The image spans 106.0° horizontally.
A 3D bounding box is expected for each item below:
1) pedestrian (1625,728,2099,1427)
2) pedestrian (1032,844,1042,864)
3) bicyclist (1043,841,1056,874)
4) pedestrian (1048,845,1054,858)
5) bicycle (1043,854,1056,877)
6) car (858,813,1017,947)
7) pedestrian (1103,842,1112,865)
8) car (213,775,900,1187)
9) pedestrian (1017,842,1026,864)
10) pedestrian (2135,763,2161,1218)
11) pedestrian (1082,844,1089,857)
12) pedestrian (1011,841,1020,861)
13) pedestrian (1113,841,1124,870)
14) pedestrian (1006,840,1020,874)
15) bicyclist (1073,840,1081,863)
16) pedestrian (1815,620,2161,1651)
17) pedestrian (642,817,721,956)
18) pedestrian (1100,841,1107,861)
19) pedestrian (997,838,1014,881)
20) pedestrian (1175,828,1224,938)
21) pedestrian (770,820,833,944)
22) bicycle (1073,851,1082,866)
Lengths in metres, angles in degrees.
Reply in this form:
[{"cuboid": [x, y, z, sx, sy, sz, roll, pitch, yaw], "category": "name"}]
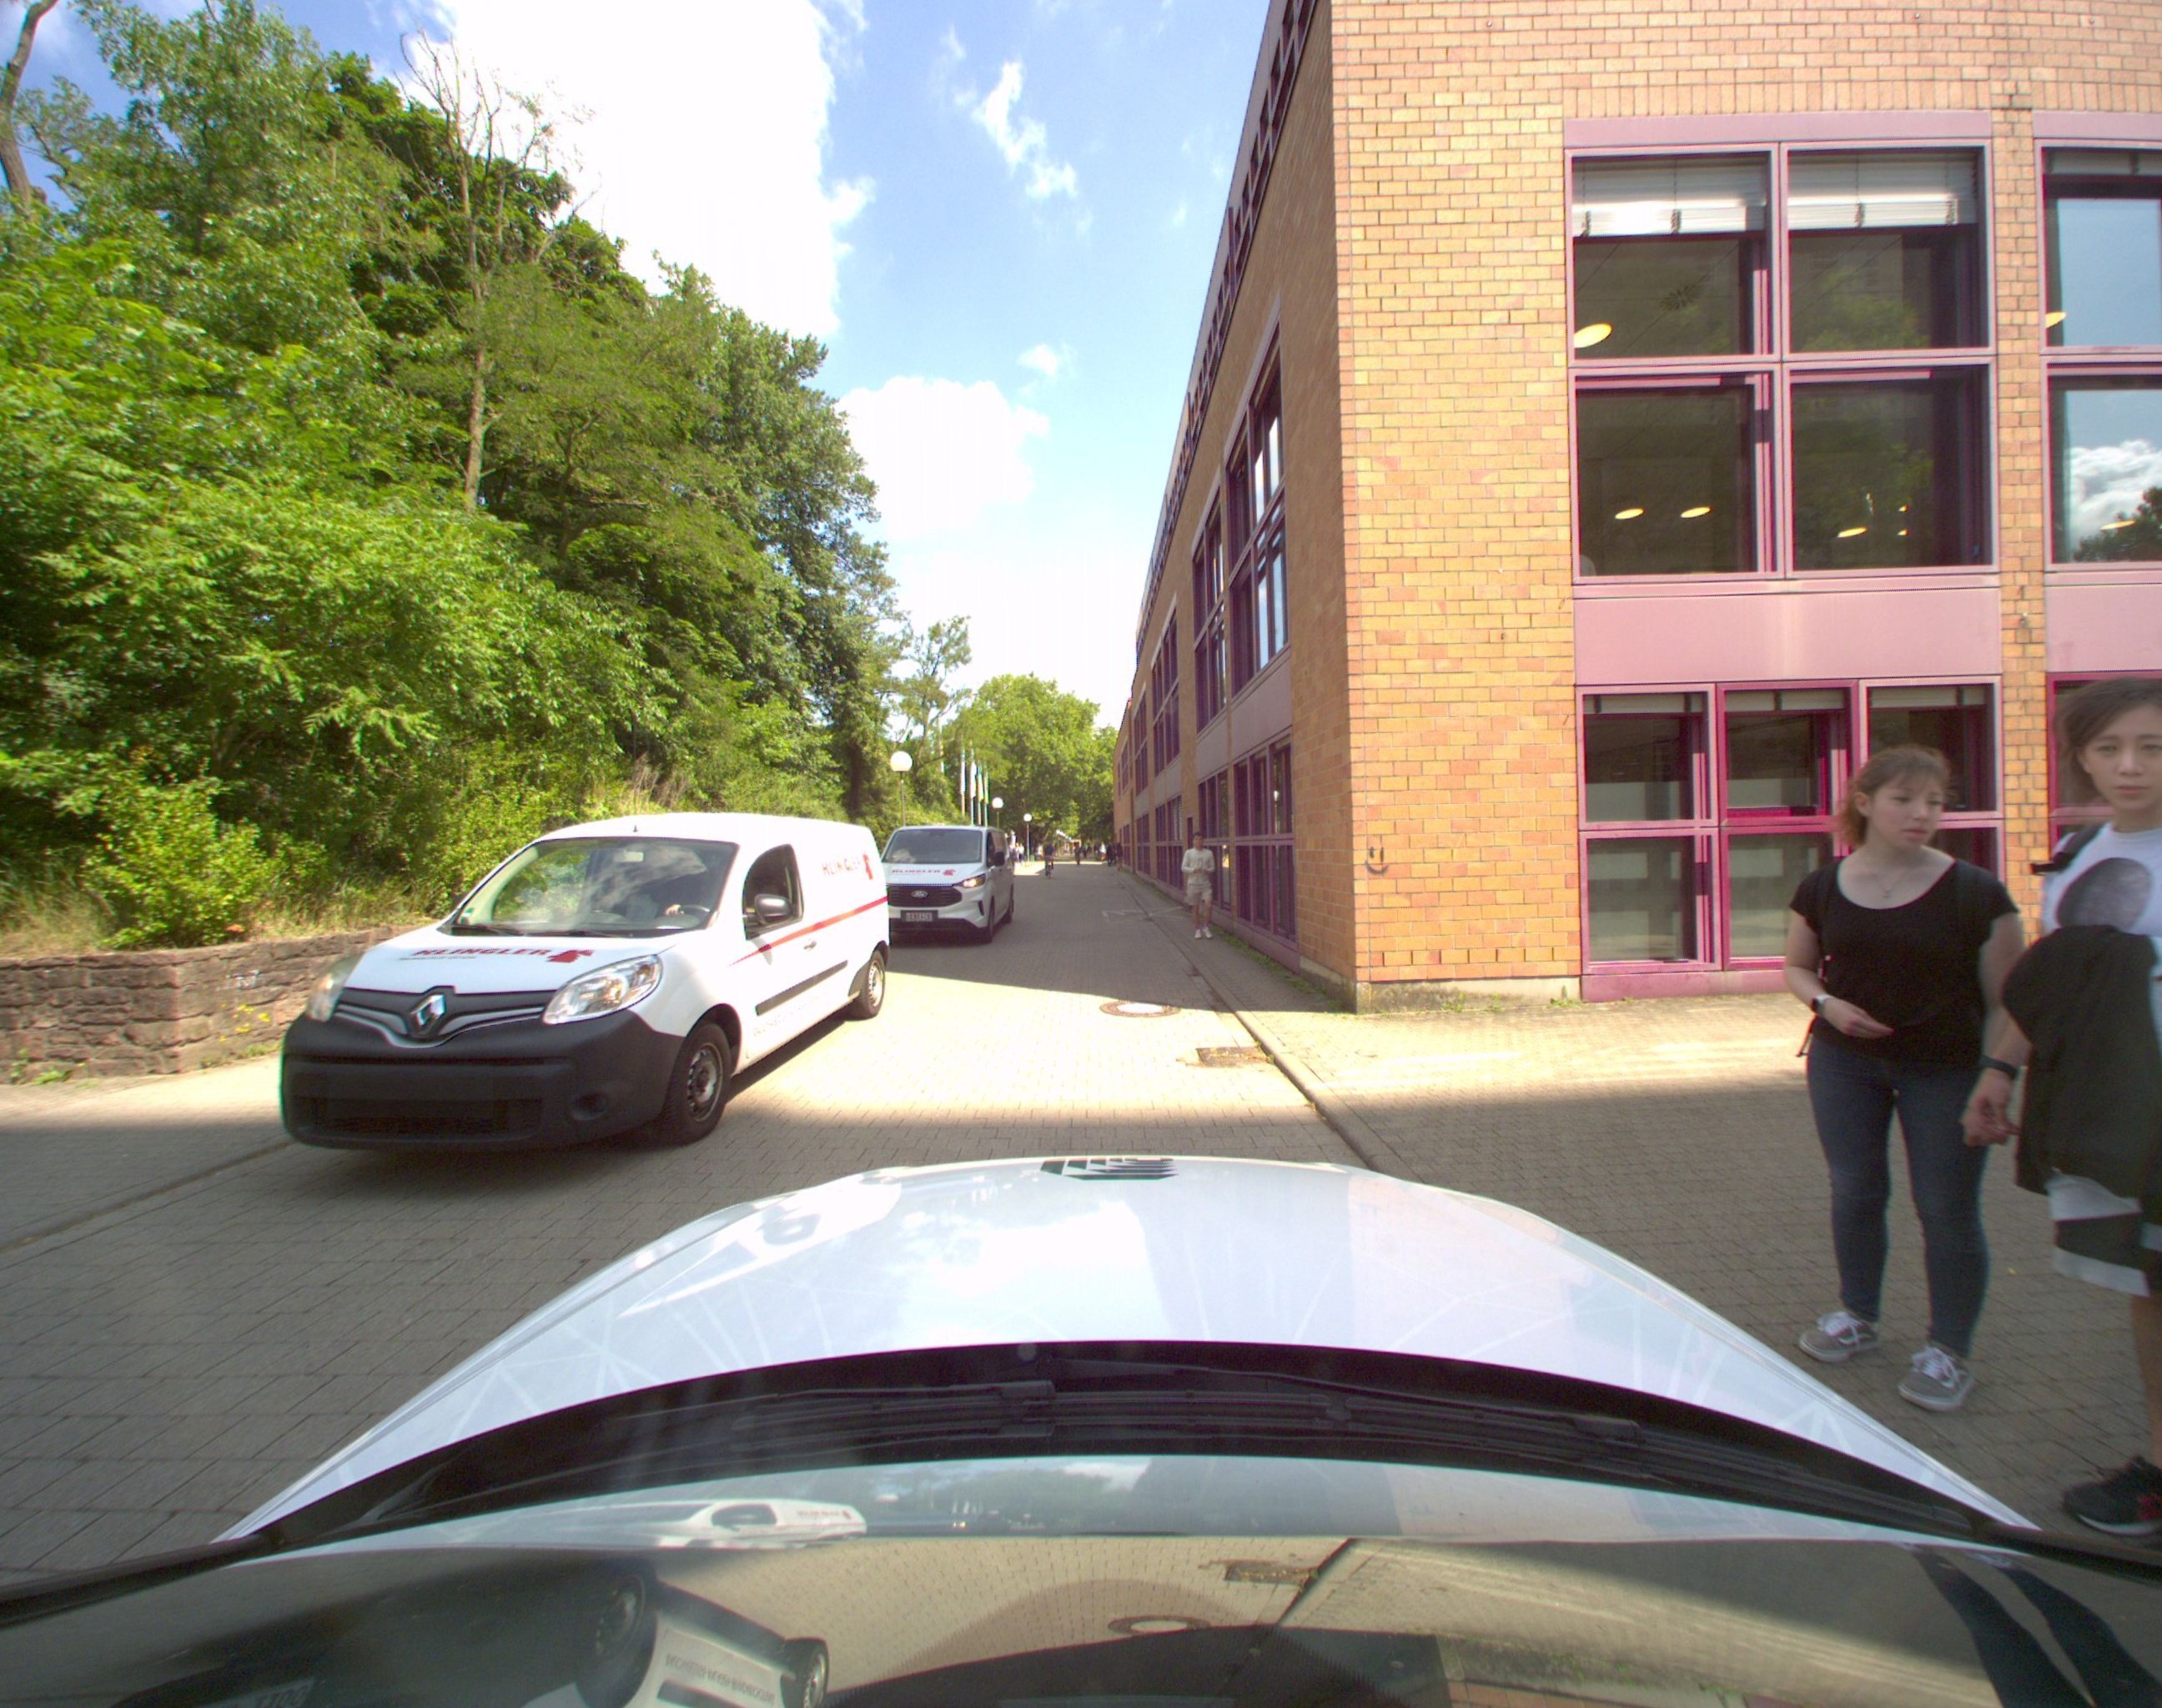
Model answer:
[{"cuboid": [2.098, 0.546, 2.294, 0.693, 1.672, 0.589, -2, -1, 8], "category": "pedestrian"}, {"cuboid": [-3.770, -0.028, 69.366, 0.722, 1.672, 0.748, -2, -1, 2], "category": "pedestrian"}, {"cuboid": [-1.537, 0.181, 39.457, 0.585, 1.573, 0.828, -1, 0, -3], "category": "bicyclist"}, {"cuboid": [-3.850, -0.294, 104.584, 0.722, 1.672, 0.748, -2, -1, 2], "category": "pedestrian"}, {"cuboid": [-1.536, 0.565, 39.488, 0.585, 1.083, 1.812, -1, 0, -3], "category": "bicycle"}, {"cuboid": [-2.350, 0.374, 14.769, 1.877, 1.974, 5.215, -1, 0, 0], "category": "car"}, {"cuboid": [2.000, -0.036, 61.024, 0.584, 1.672, 0.817, -2, -1, 2], "category": "pedestrian"}, {"cuboid": [-2.782, 0.542, 5.769, 1.783, 1.761, 4.484, -1, 0, 2], "category": "car"}, {"cuboid": [-4.560, -0.063, 62.429, 0.584, 1.672, 0.699, -2, -1, 2], "category": "pedestrian"}, {"cuboid": [4.349, 0.495, 2.667, 0.881, 1.672, 0.645, -2, 1, 8], "category": "pedestrian"}, {"cuboid": [0.577, -0.399, 105.753, 0.722, 1.672, 0.748, -2, -1, 2], "category": "pedestrian"}, {"cuboid": [-5.684, -0.262, 70.723, 0.584, 1.672, 0.699, -2, -1, 2], "category": "pedestrian"}, {"cuboid": [2.208, 0.112, 47.683, 0.584, 1.672, 0.699, -2, -1, 2], "category": "pedestrian"}, {"cuboid": [-3.404, 0.159, 40.986, 0.584, 1.672, 0.699, -2, -1, 2], "category": "pedestrian"}, {"cuboid": [-0.306, -0.210, 60.871, 0.585, 1.716, 0.665, -1, 0, -3], "category": "bicyclist"}, {"cuboid": [2.206, 0.478, 1.684, 0.762, 1.794, 0.589, -2, -1, 8], "category": "pedestrian"}, {"cuboid": [-5.479, 0.435, 11.200, 0.680, 1.844, 0.783, 0, -1, 0], "category": "pedestrian"}, {"cuboid": [2.164, -0.286, 79.012, 0.651, 1.922, 0.817, -2, -1, 2], "category": "pedestrian"}, {"cuboid": [-3.127, 0.229, 33.877, 0.584, 1.765, 0.699, -2, -1, 2], "category": "pedestrian"}, {"cuboid": [1.928, 0.461, 13.336, 0.680, 1.747, 0.783, 0, -1, 0], "category": "pedestrian"}, {"cuboid": [-4.270, 0.422, 12.497, 0.680, 1.844, 0.783, 0, -1, 0], "category": "pedestrian"}, {"cuboid": [-0.304, 0.317, 60.972, 0.585, 1.083, 1.906, -1, 0, -3], "category": "bicycle"}]
